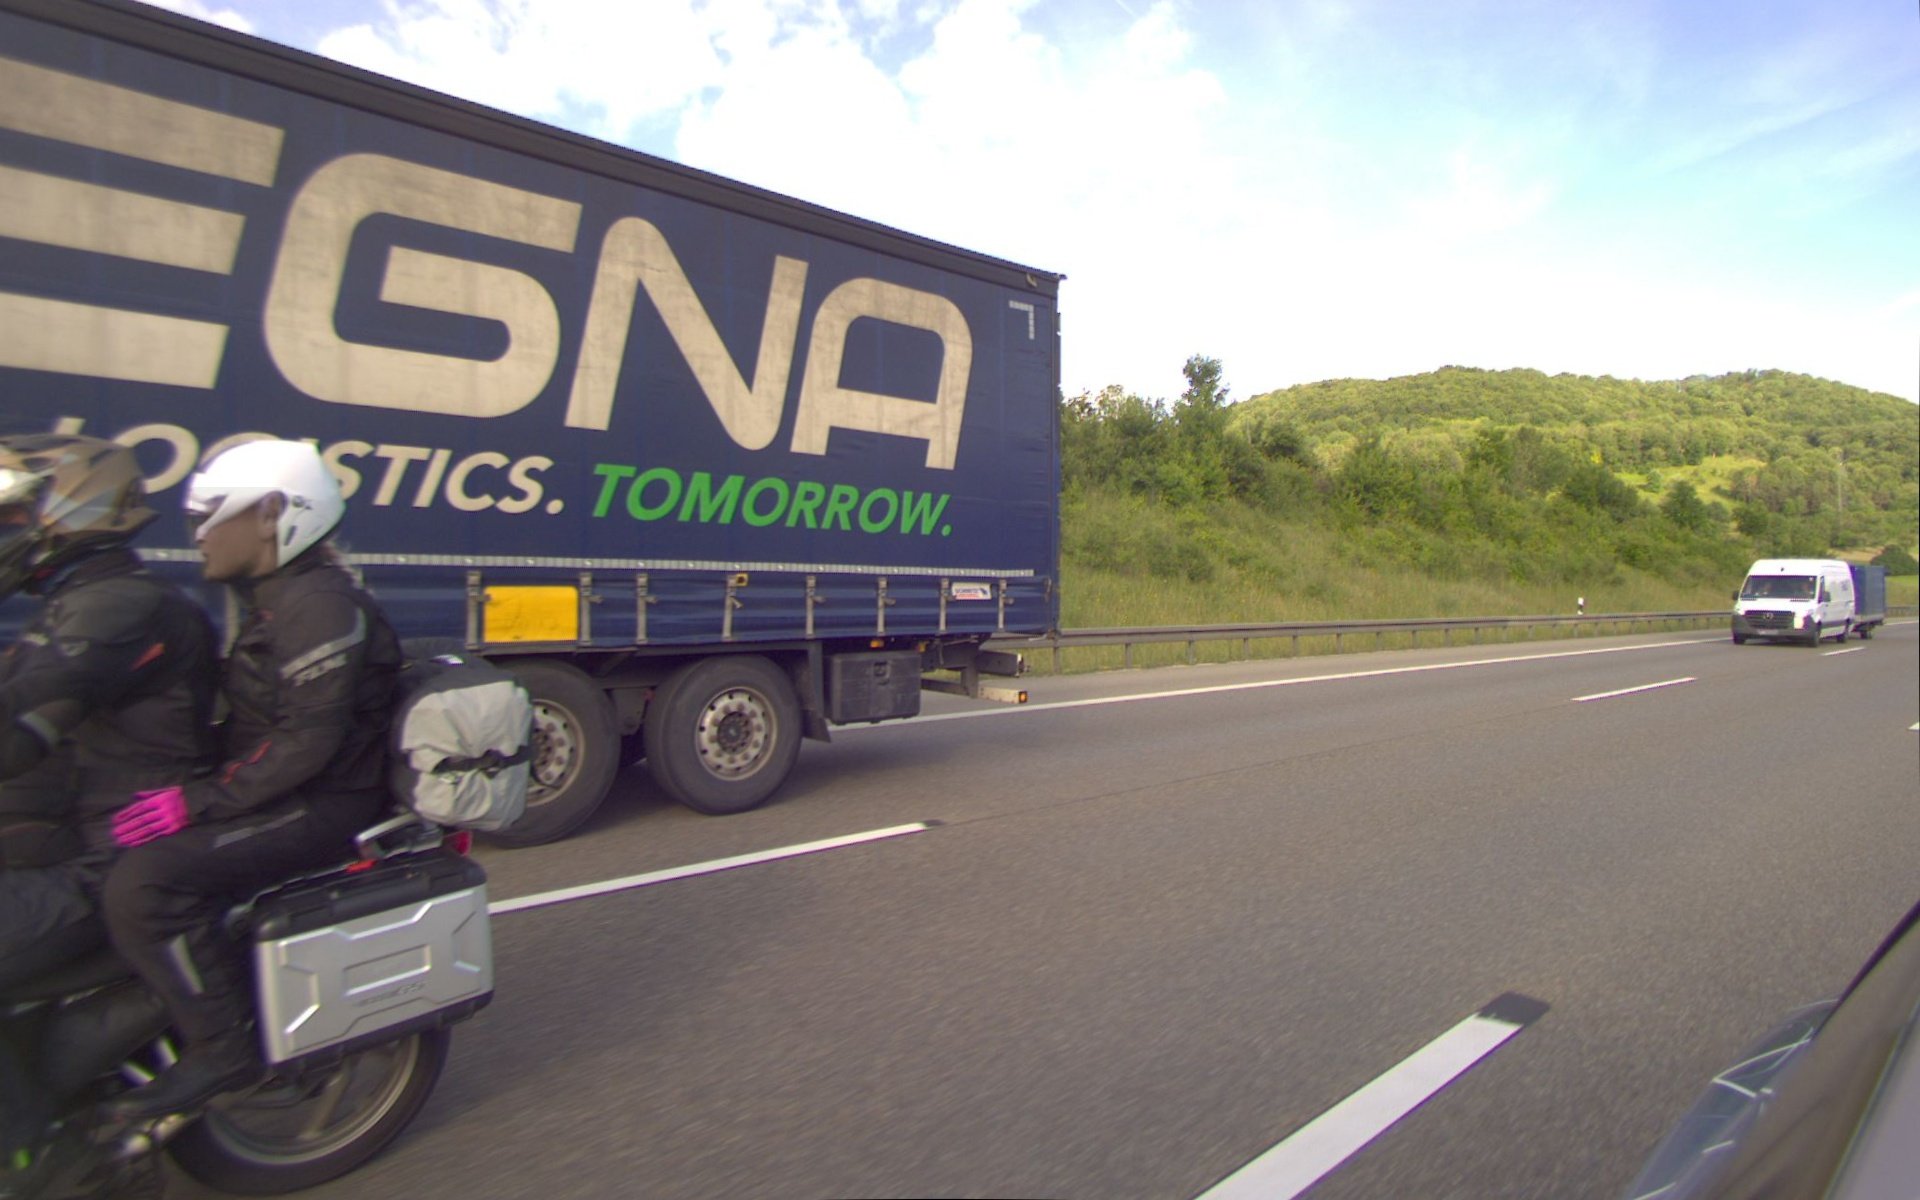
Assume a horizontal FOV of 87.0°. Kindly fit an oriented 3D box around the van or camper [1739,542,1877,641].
[{"bbox_3d":[26.270,-0.230,31.220,7.389,2.751,1.998,0,0,-40],"label":"van or camper"}]

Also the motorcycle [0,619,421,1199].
[{"bbox_3d":[-2.061,0.736,1.961,1.708,1.356,0.628,0,1,-39],"label":"motorcycle"}]

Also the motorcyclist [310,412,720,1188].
[{"bbox_3d":[-1.163,0.389,2.594,0.783,1.534,0.879,0,0,-37],"label":"motorcyclist"}]

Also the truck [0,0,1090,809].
[{"bbox_3d":[-6.464,-1.189,3.798,17.422,4.042,2.970,0,1,-41],"label":"truck"}]

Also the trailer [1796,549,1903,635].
[{"bbox_3d":[30.881,-0.278,35.085,5.155,2.760,1.998,0,1,-40],"label":"trailer"}]
